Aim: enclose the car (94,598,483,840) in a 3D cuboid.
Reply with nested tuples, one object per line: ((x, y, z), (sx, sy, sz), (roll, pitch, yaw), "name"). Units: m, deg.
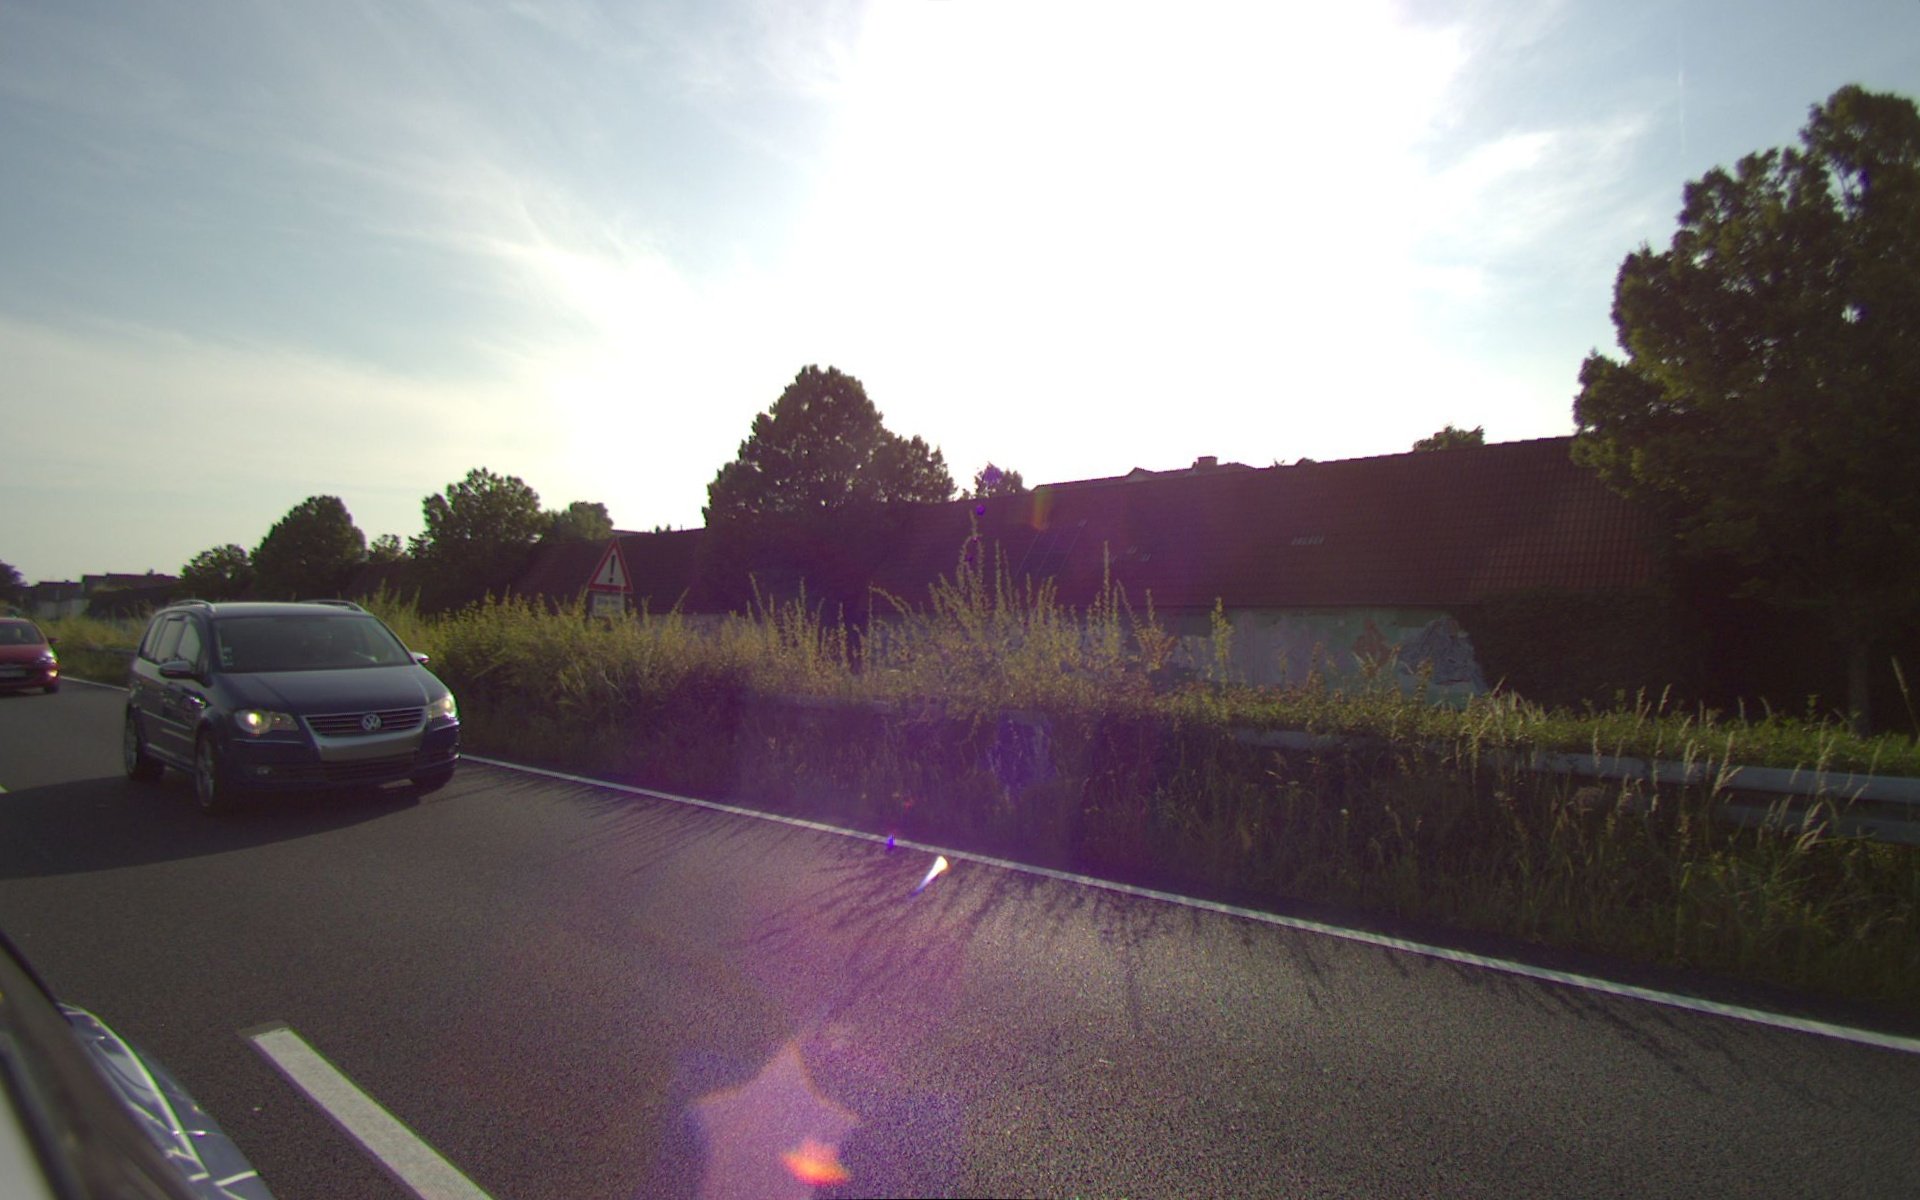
((-6.170, 0.823, 9.043), (4.680, 1.633, 1.754), (0, -1, 42), "car")

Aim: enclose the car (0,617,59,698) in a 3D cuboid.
((-20.330, 1.159, 21.181), (3.998, 1.557, 1.725), (0, 0, 41), "car")
